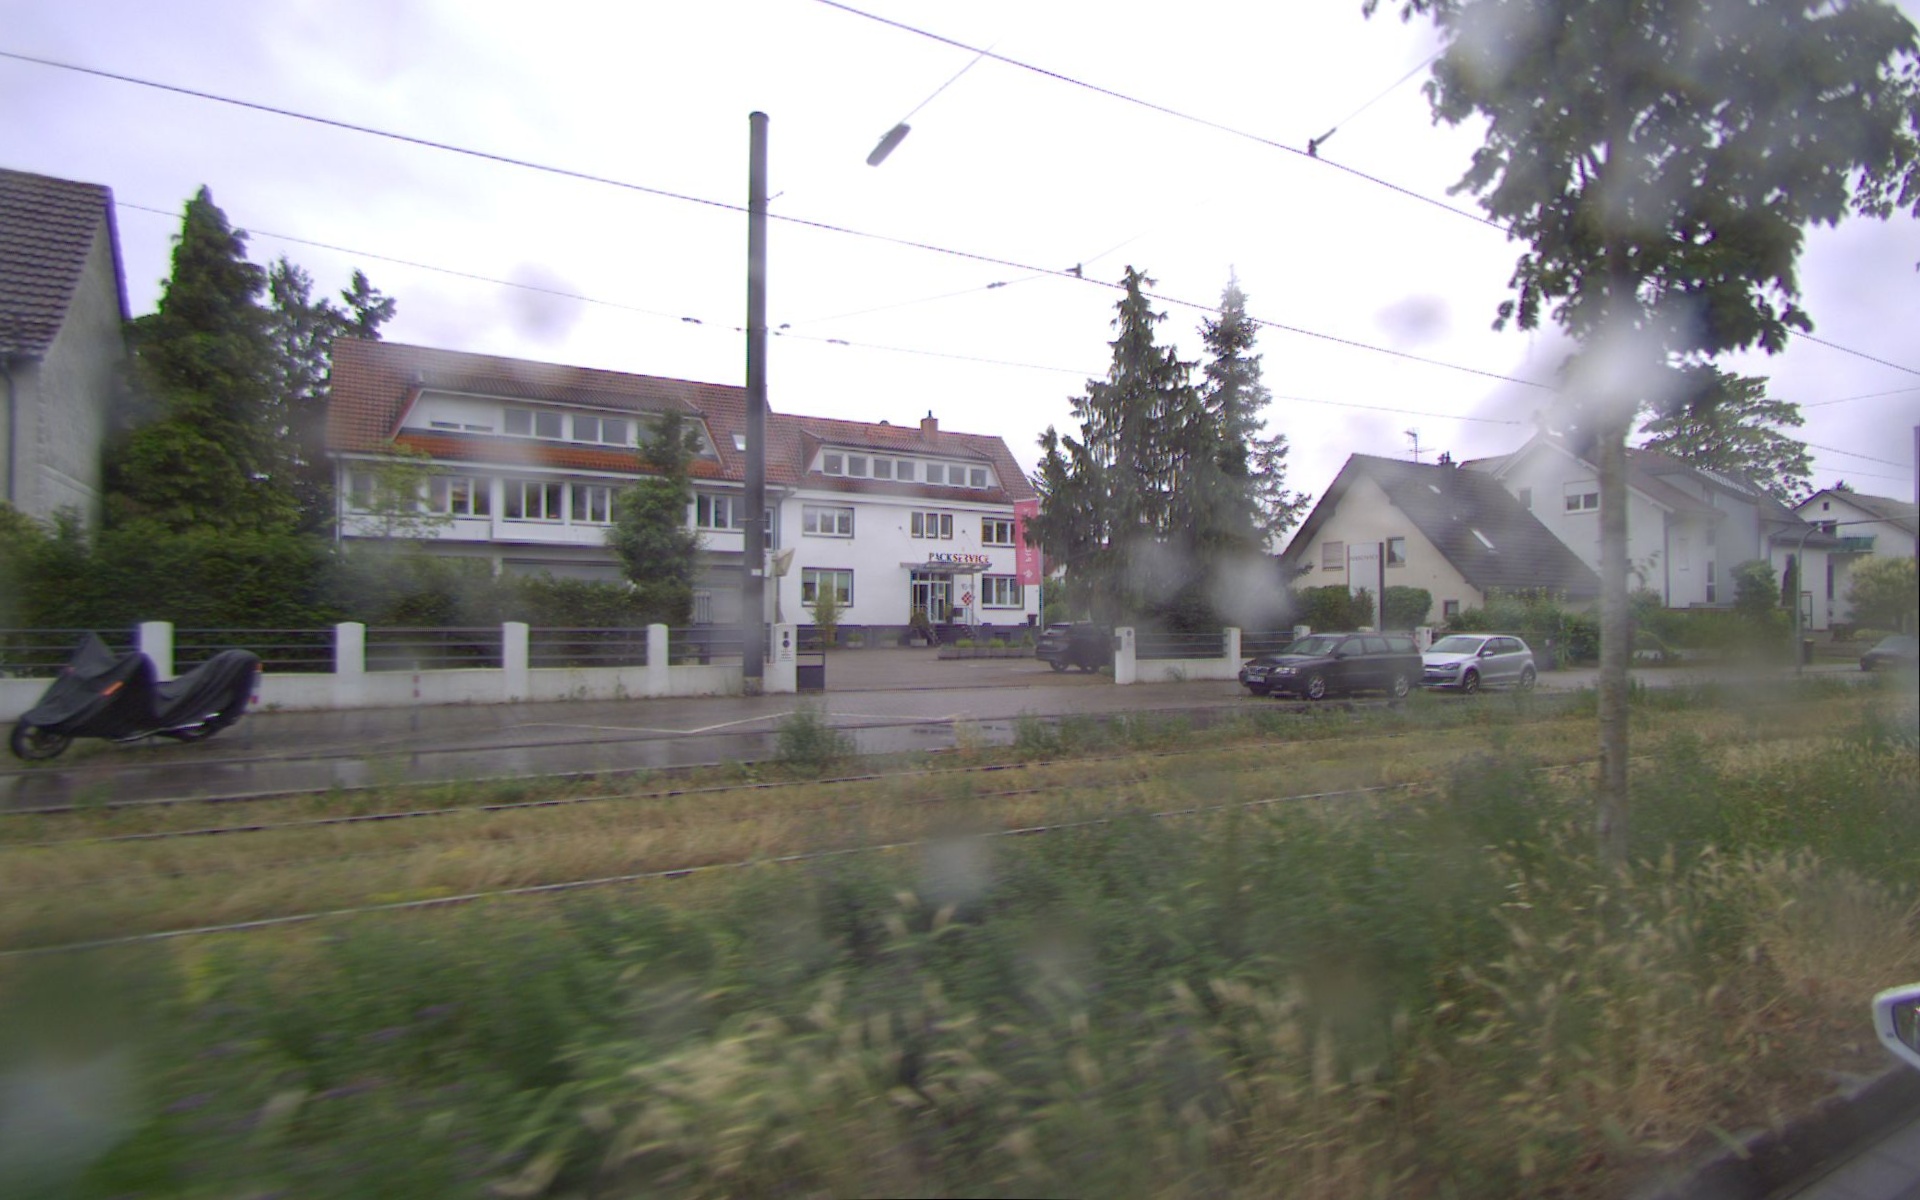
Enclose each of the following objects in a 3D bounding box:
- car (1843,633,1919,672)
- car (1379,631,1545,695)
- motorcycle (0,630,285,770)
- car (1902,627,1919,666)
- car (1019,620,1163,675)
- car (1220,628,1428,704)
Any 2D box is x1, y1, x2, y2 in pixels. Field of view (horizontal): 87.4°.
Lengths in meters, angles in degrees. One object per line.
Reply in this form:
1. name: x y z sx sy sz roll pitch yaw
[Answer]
1. car: 37.346 2.052 40.002 4.188 1.369 1.985 1 1 -29
2. car: 12.888 1.553 25.765 3.925 1.430 1.984 1 1 -31
3. motorcycle: -9.914 1.118 12.211 1.241 1.429 2.689 2 -1 12
4. car: 41.783 1.972 42.450 3.824 1.571 1.865 1 1 -30
5. car: 3.918 1.377 30.036 3.872 1.475 1.984 1 1 -30
6. car: 8.320 1.431 22.903 4.475 1.475 1.985 1 1 -29
